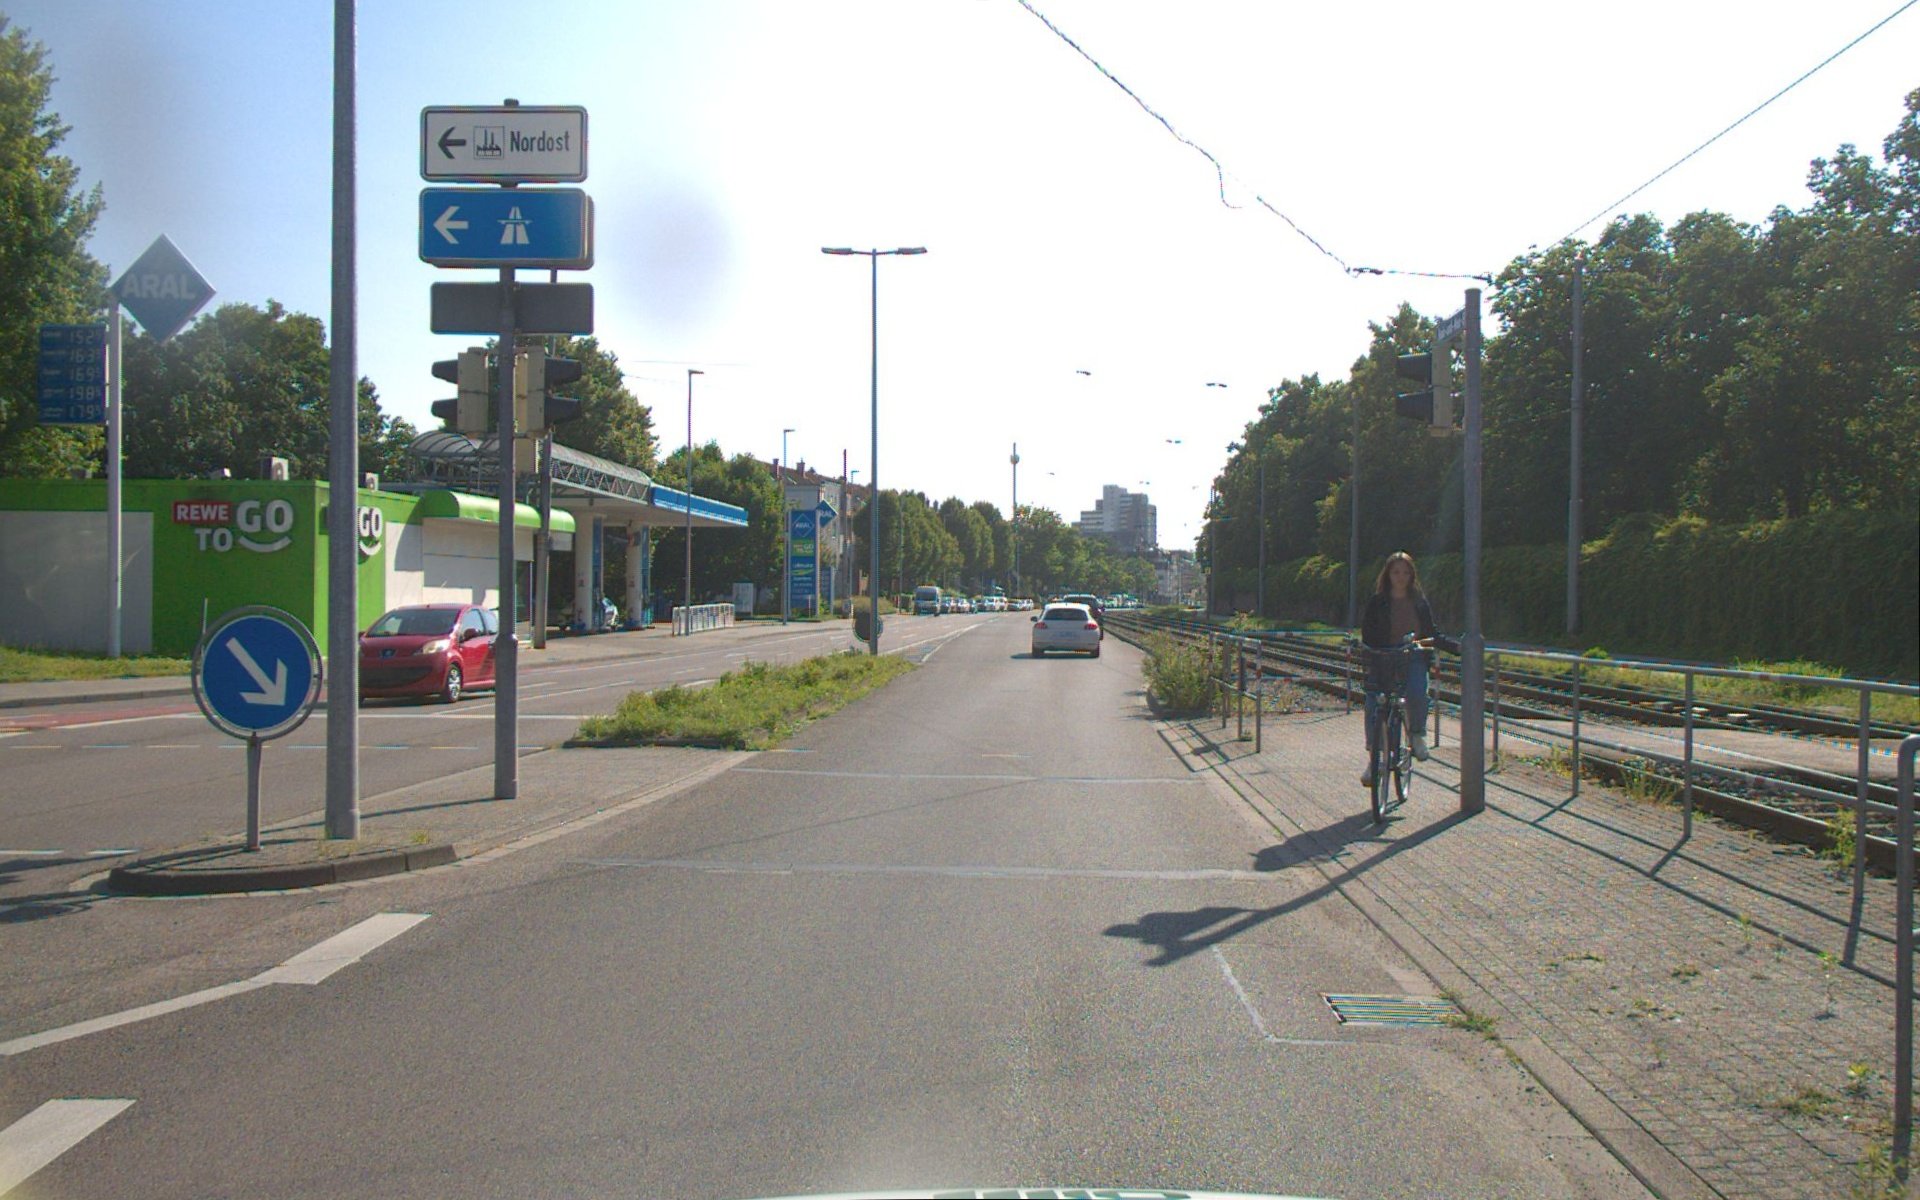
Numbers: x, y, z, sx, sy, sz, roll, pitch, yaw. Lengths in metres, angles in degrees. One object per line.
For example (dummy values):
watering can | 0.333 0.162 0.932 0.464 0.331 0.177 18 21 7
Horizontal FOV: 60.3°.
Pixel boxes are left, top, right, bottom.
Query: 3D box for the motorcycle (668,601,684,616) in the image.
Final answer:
motorcycle | -18.265 0.544 106.273 0.657 0.917 1.672 0 0 3

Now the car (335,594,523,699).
car | -7.793 0.641 24.560 1.541 1.441 3.335 0 0 3

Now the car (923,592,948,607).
car | -2.319 -0.036 156.561 1.951 1.441 3.846 0 0 5

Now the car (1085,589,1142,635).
car | 5.746 0.423 62.201 1.689 1.620 3.600 2 0 -1

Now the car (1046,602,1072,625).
car | 7.002 0.939 117.512 1.712 1.511 3.602 2 0 2

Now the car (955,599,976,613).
car | 0.641 0.642 179.038 1.951 1.441 3.846 0 0 5

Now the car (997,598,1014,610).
car | 5.896 0.514 211.993 1.951 1.441 3.846 0 0 5

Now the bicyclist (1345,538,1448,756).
bicyclist | 3.055 0.306 11.529 0.630 1.440 1.013 0 0 19

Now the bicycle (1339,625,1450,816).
bicycle | 3.053 0.781 11.514 0.630 1.174 1.937 0 0 18

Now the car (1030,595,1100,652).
car | 2.770 0.603 44.089 1.744 1.380 3.602 2 0 3

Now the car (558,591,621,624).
car | -16.307 0.309 72.975 1.707 1.418 4.122 0 0 2

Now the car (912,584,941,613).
car | -2.867 -0.146 141.431 1.951 2.418 4.541 0 0 6

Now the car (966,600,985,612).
car | 1.796 0.688 190.854 1.951 1.441 3.846 0 0 5
